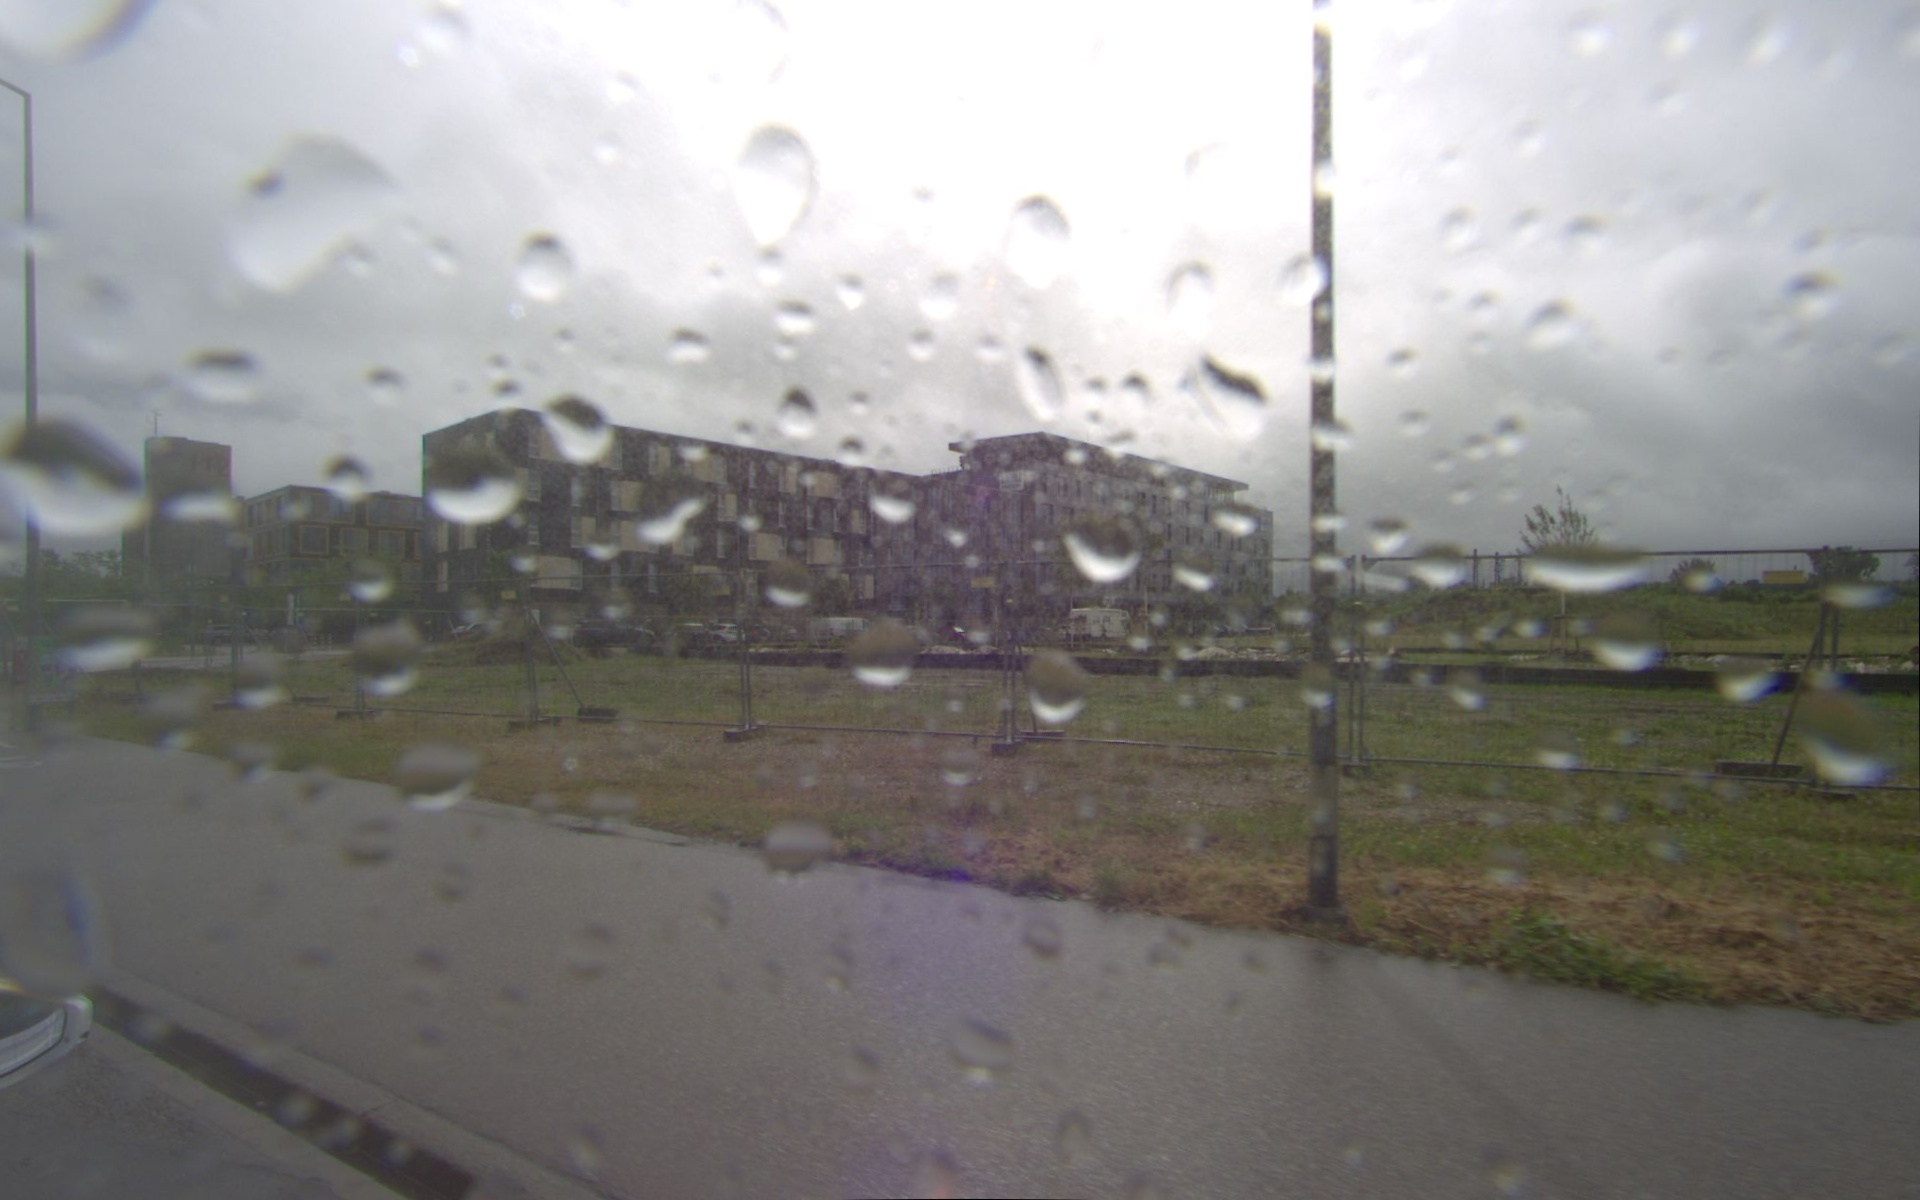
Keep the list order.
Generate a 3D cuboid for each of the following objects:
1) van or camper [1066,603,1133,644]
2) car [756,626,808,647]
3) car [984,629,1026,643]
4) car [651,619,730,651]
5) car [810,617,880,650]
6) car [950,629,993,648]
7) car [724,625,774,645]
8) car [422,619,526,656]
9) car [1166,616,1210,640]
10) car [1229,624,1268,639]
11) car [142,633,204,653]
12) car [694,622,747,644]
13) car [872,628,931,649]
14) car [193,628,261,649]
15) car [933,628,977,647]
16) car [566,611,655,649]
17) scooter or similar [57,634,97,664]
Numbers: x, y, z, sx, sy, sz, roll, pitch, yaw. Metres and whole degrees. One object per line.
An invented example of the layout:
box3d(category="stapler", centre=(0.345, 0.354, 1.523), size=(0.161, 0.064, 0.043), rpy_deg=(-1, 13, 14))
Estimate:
box3d(category="van or camper", centre=(12.478, 2.162, 89.121), size=(2.501, 3.240, 6.752), rpy_deg=(-1, -5, 41))
box3d(category="car", centre=(-13.305, 2.732, 74.609), size=(3.798, 1.412, 1.773), rpy_deg=(-1, -5, 41))
box3d(category="car", centre=(4.291, 3.426, 95.345), size=(3.858, 1.312, 1.541), rpy_deg=(-1, -5, 41))
box3d(category="car", centre=(-15.353, 2.013, 57.186), size=(1.975, 1.661, 3.977), rpy_deg=(0, -5, 37))
box3d(category="car", centre=(-7.577, 2.259, 66.253), size=(1.978, 1.792, 4.308), rpy_deg=(-1, -7, 42))
box3d(category="car", centre=(1.043, 3.527, 91.112), size=(3.798, 1.635, 1.538), rpy_deg=(-1, -5, 41))
box3d(category="car", centre=(-15.330, 2.555, 72.695), size=(3.739, 1.413, 1.631), rpy_deg=(-3, -5, 41))
box3d(category="car", centre=(-23.029, 1.770, 47.535), size=(1.976, 1.638, 3.974), rpy_deg=(-4, -4, 37))
box3d(category="car", centre=(22.080, 2.699, 96.817), size=(1.980, 2.038, 4.772), rpy_deg=(-1, -5, 44))
box3d(category="car", centre=(35.798, 3.898, 124.301), size=(4.324, 1.708, 1.785), rpy_deg=(-1, -5, 44))
box3d(category="car", centre=(-76.164, 4.151, 96.988), size=(1.980, 1.784, 4.516), rpy_deg=(-1, -2, 44))
box3d(category="car", centre=(-16.945, 2.352, 70.885), size=(3.763, 1.412, 1.756), rpy_deg=(-1, -5, 41))
box3d(category="car", centre=(-4.087, 2.715, 70.482), size=(1.977, 1.432, 3.970), rpy_deg=(-1, -3, 41))
box3d(category="car", centre=(-58.646, 3.077, 80.195), size=(1.650, 1.578, 4.180), rpy_deg=(-1, -1, 44))
box3d(category="car", centre=(-0.491, 3.336, 89.218), size=(3.798, 1.635, 1.538), rpy_deg=(-1, -5, 41))
box3d(category="car", centre=(-18.449, 1.607, 53.035), size=(1.975, 1.748, 3.977), rpy_deg=(0, -5, 37))
box3d(category="scooter or similar", centre=(-38.598, 2.133, 43.800), size=(0.493, 1.203, 1.283), rpy_deg=(1, 1, 11))
